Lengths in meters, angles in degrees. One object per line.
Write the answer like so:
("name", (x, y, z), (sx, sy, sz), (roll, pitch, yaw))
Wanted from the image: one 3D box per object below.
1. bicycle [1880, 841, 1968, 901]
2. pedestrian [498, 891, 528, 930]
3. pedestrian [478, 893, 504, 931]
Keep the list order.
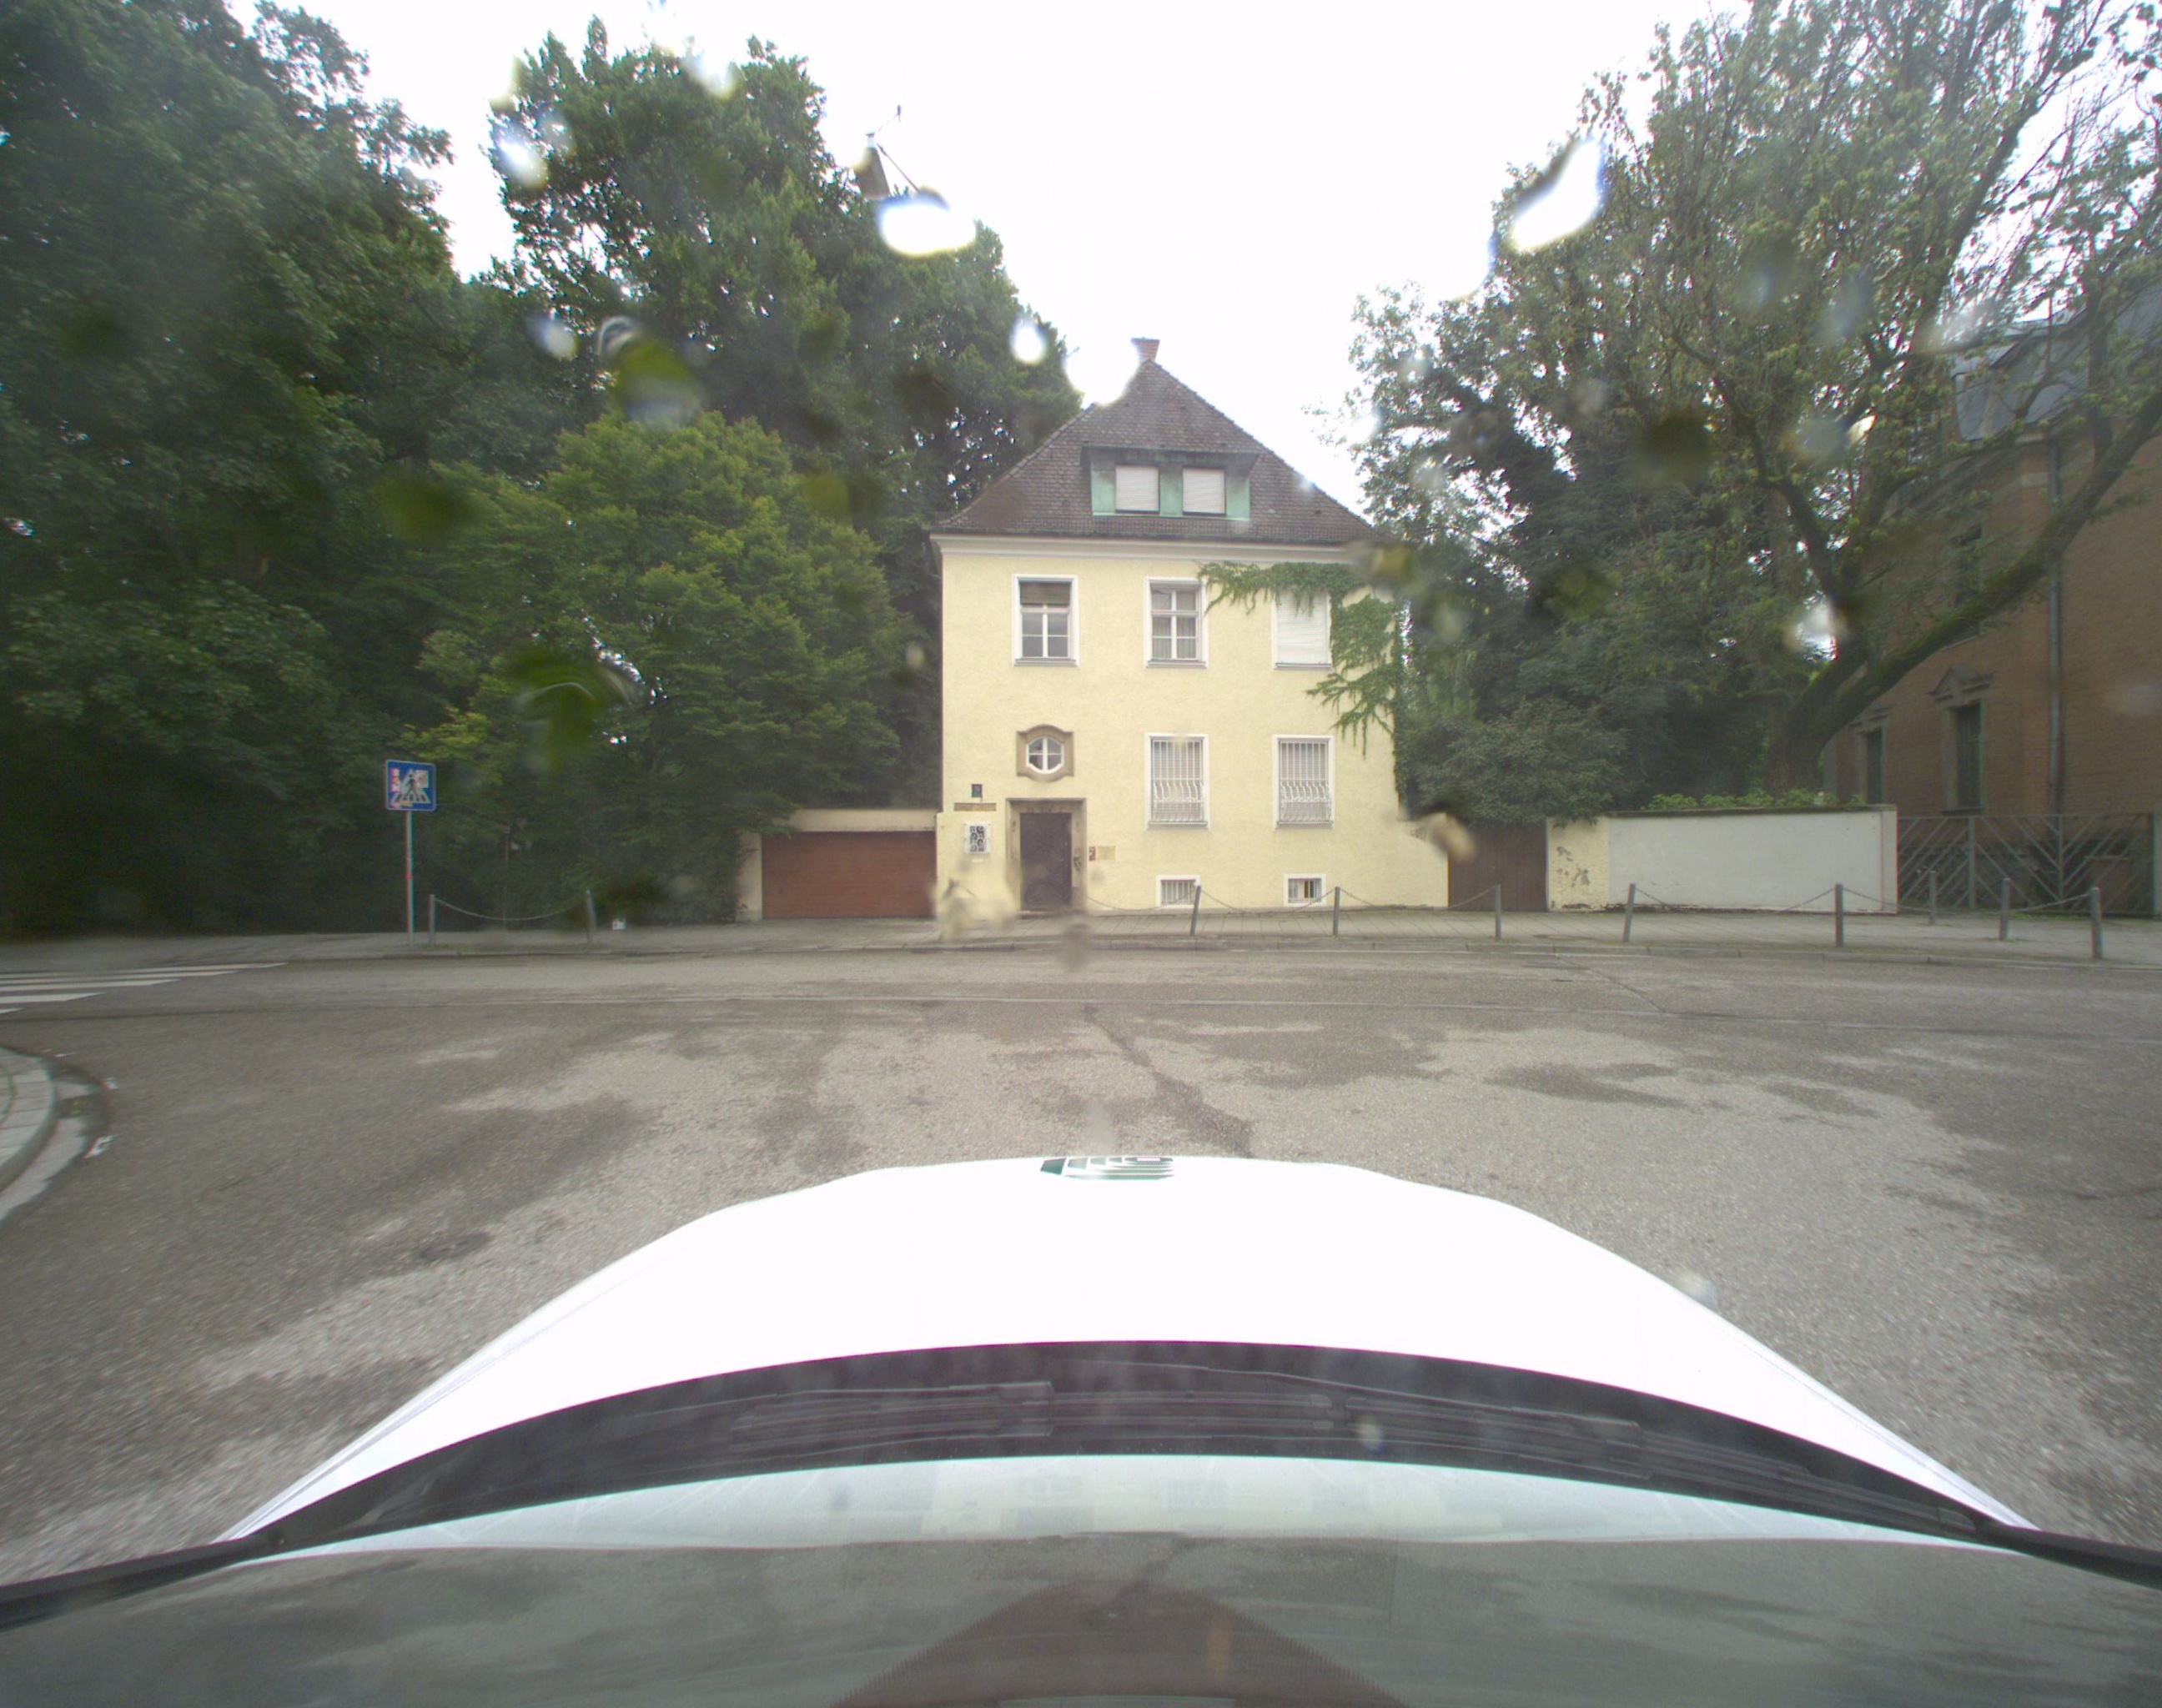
("bicycle", (18.276, 0.354, 17.710), (0.529, 1.219, 2.094), (0, 0, 22))
("pedestrian", (-17.569, 1.731, 25.202), (0.585, 1.169, 0.496), (0, -1, -6))
("pedestrian", (-18.164, 1.782, 25.074), (0.470, 1.156, 0.496), (0, -1, -6))
